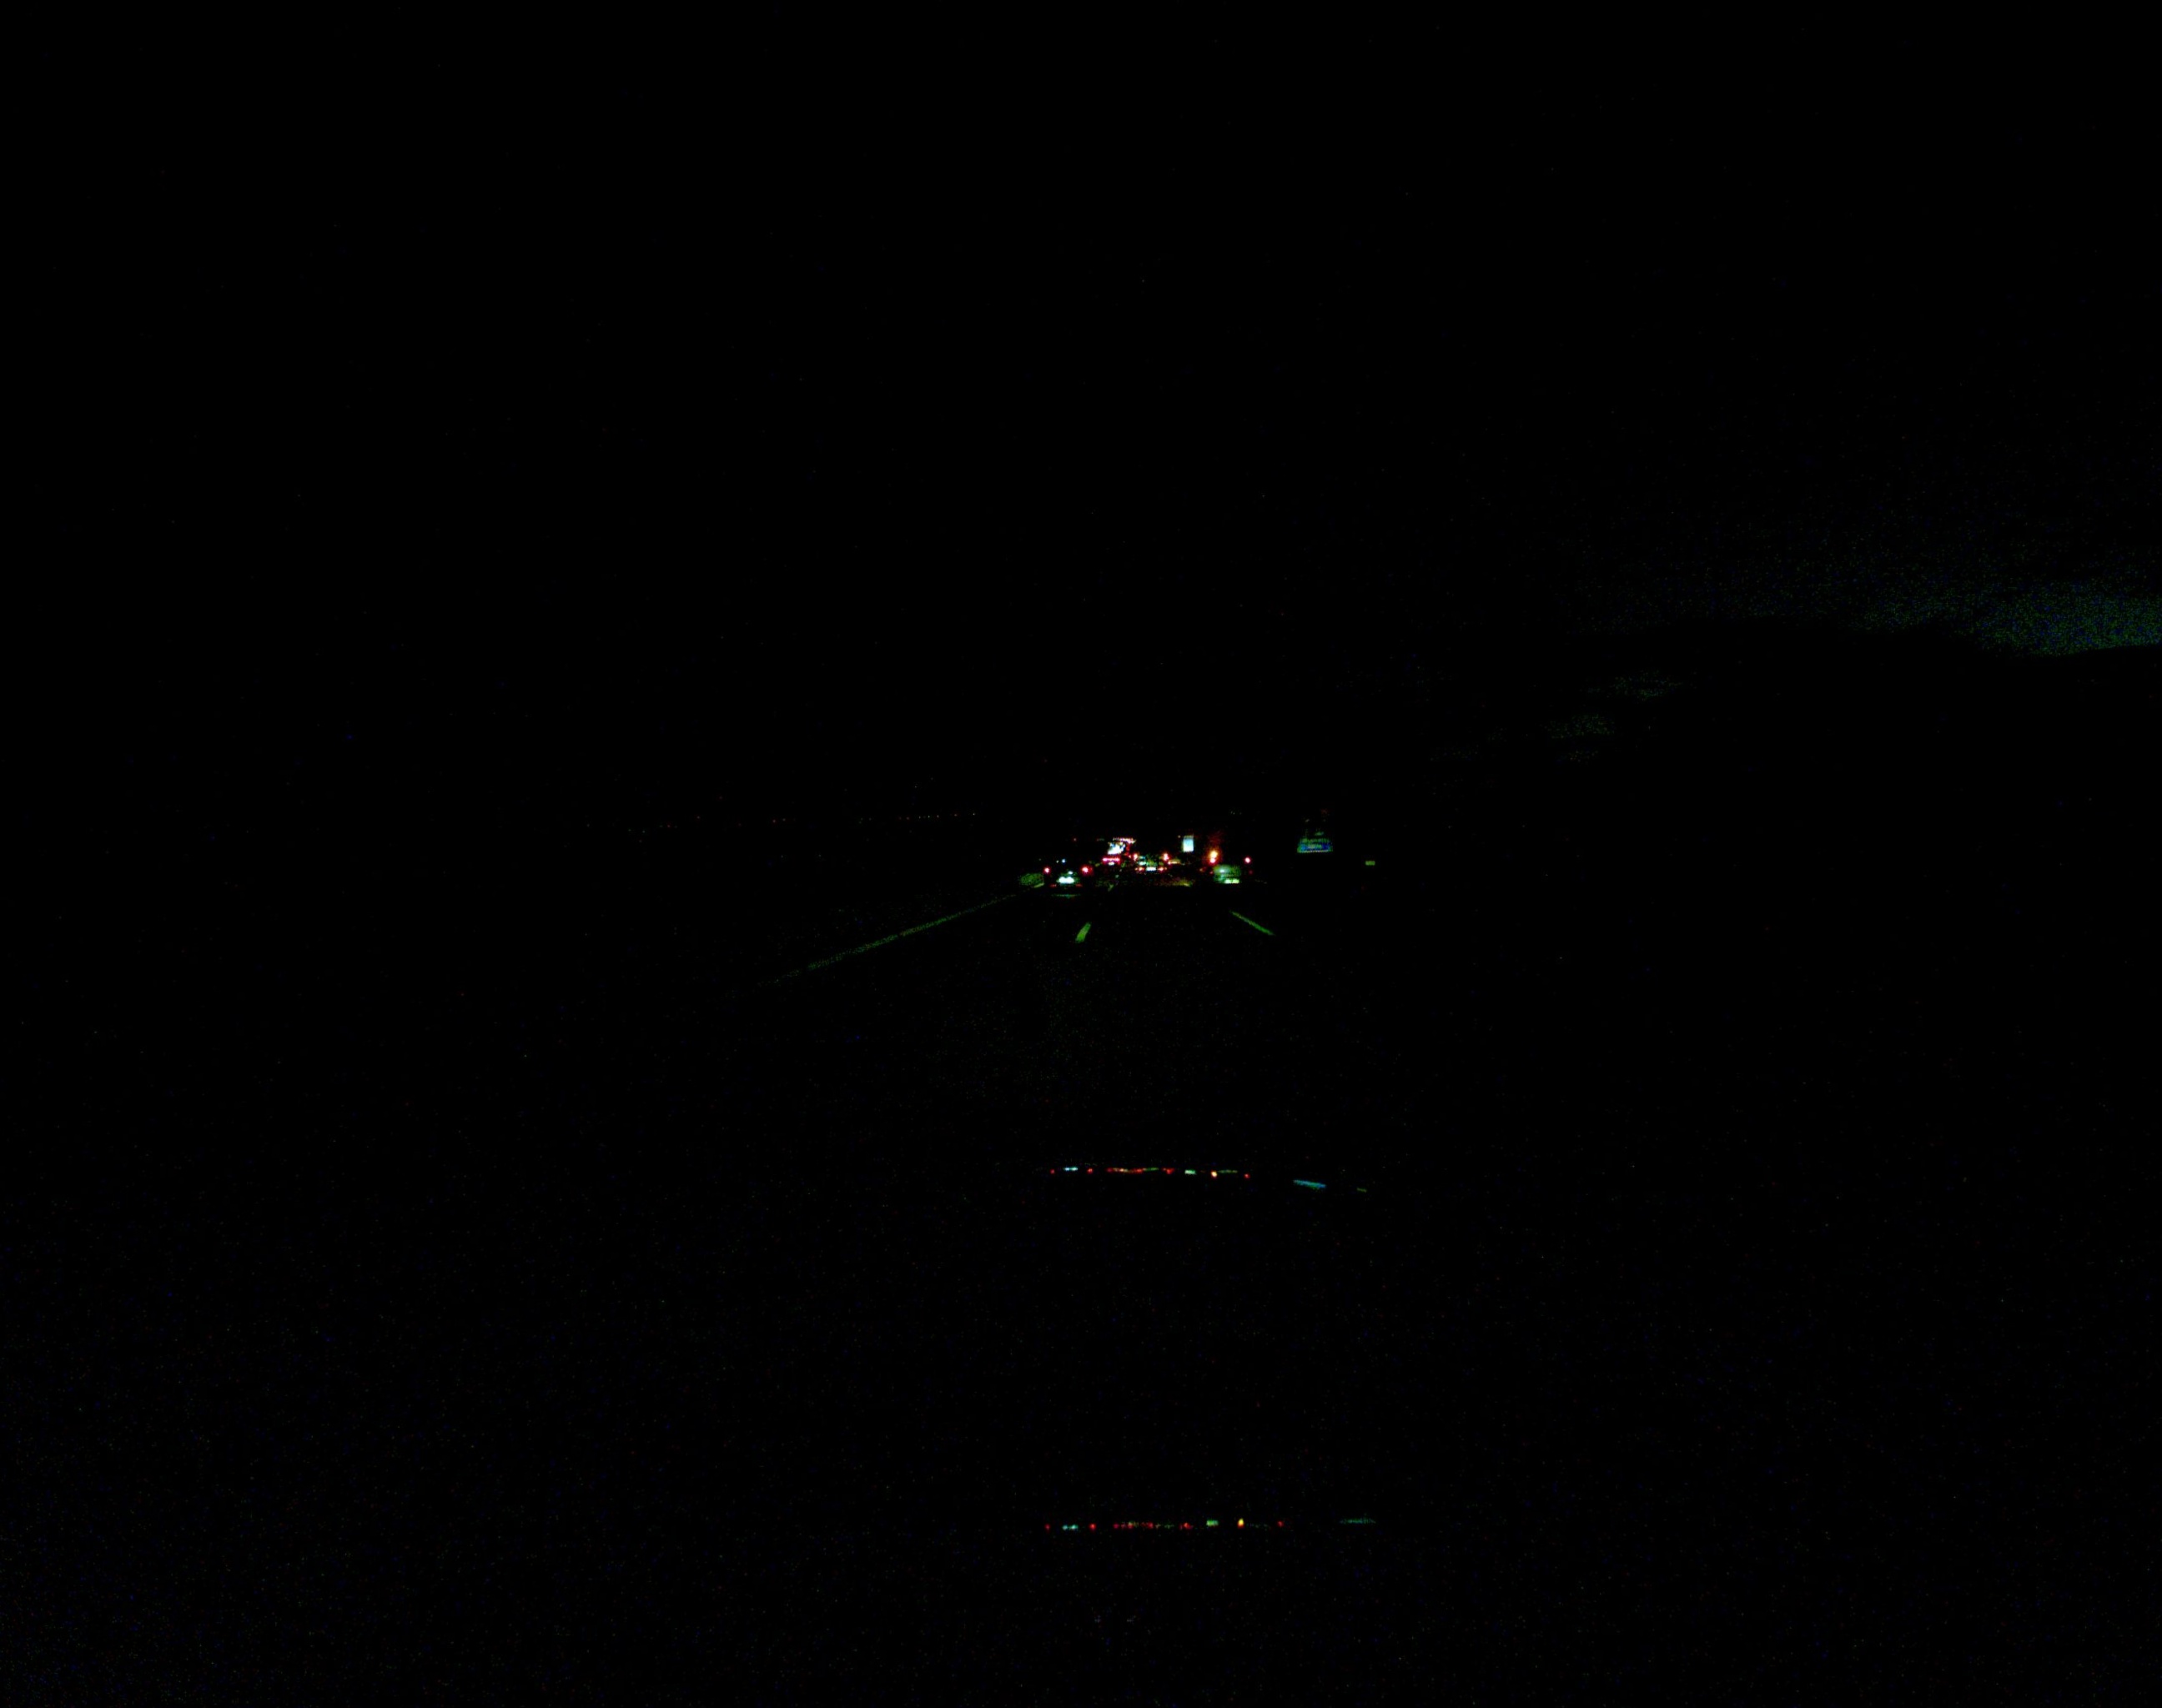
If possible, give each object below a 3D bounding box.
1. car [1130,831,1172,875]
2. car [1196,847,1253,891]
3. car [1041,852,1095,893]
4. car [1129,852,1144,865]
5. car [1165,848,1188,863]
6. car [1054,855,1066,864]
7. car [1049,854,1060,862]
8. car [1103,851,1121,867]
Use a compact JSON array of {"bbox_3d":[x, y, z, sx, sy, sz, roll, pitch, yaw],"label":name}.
[{"bbox_3d":[4.353,-0.079,51.282,2.341,2.535,5.707,-2,0,4],"label":"car"},{"bbox_3d":[5.555,0.547,31.973,1.639,1.596,4.513,-1,0,3],"label":"car"},{"bbox_3d":[-0.438,0.693,31.927,1.786,1.469,3.777,-1,0,4],"label":"car"},{"bbox_3d":[8.872,0.672,129.658,2.341,1.914,4.727,-2,0,4],"label":"car"},{"bbox_3d":[10.092,0.154,86.680,2.153,1.563,4.727,-1,0,4],"label":"car"},{"bbox_3d":[-4.489,1.129,173.744,1.895,1.643,5.303,-3,0,4],"label":"car"},{"bbox_3d":[-6.614,1.053,204.563,2.036,1.720,4.779,-4,0,4],"label":"car"},{"bbox_3d":[3.211,0.477,83.400,1.737,1.440,4.372,-2,0,4],"label":"car"}]
